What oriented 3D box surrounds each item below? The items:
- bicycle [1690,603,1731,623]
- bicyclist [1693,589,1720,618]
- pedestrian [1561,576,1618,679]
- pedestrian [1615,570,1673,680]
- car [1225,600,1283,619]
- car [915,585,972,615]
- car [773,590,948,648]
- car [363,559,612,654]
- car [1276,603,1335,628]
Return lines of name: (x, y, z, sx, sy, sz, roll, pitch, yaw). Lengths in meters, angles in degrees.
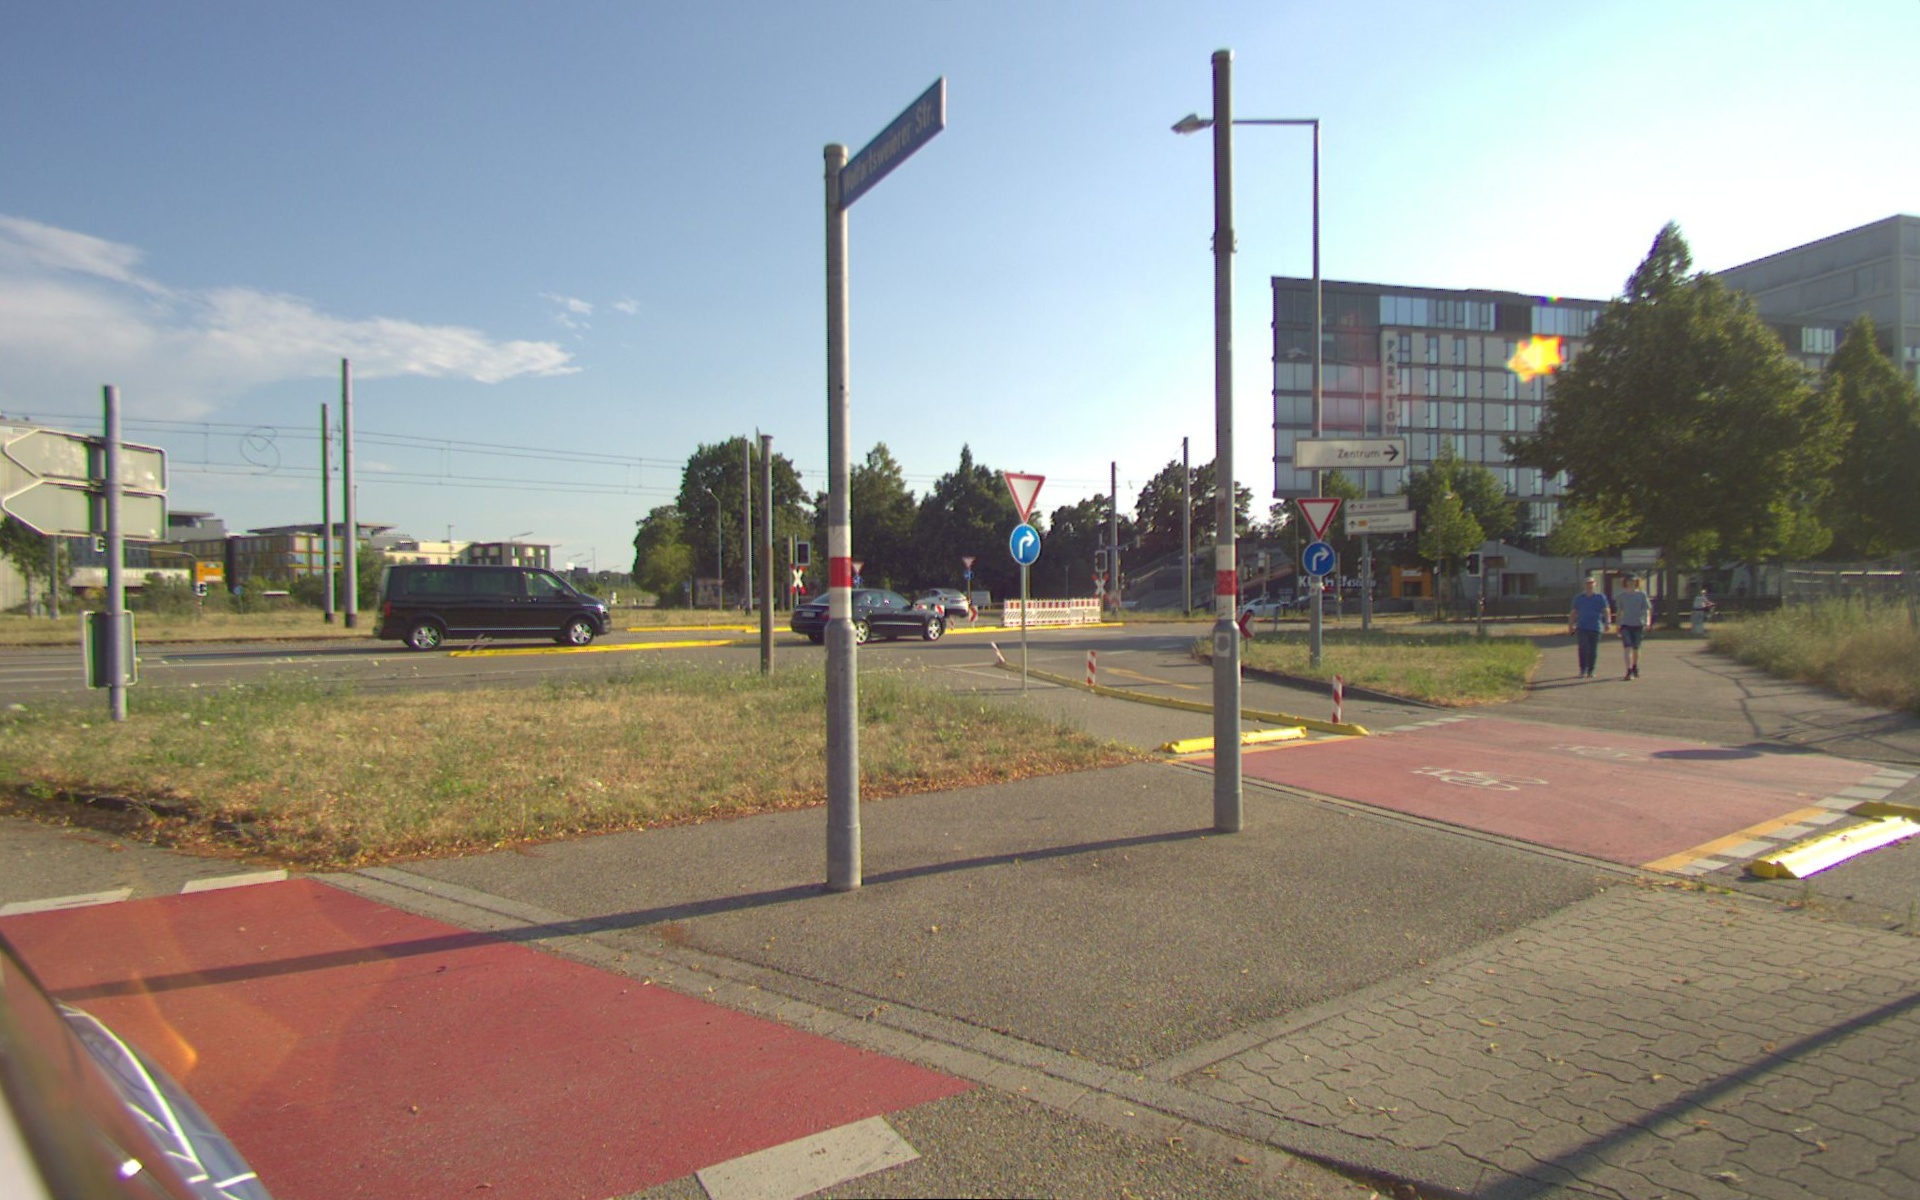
bicycle: (37.216, 0.624, 50.215, 1.689, 0.935, 0.854, -1, 0, -21)
bicyclist: (36.995, 0.181, 50.152, 0.618, 1.420, 0.873, -1, 1, -21)
pedestrian: (10.881, 0.455, 17.490, 0.784, 1.721, 0.803, -1, 0, 34)
pedestrian: (11.412, 0.409, 16.905, 0.757, 1.789, 0.763, -1, 0, 32)
car: (20.292, 0.622, 69.857, 3.446, 1.249, 1.662, -1, 0, -10)
car: (-0.948, -0.014, 56.036, 1.965, 1.586, 4.013, -1, 0, -20)
car: (-2.549, 0.455, 26.983, 1.843, 1.417, 4.635, 0, 0, 42)
car: (-11.266, 0.115, 24.258, 5.156, 2.062, 2.100, -1, 0, -33)
car: (22.629, 1.023, 66.373, 3.289, 1.586, 1.564, -1, 0, -2)
